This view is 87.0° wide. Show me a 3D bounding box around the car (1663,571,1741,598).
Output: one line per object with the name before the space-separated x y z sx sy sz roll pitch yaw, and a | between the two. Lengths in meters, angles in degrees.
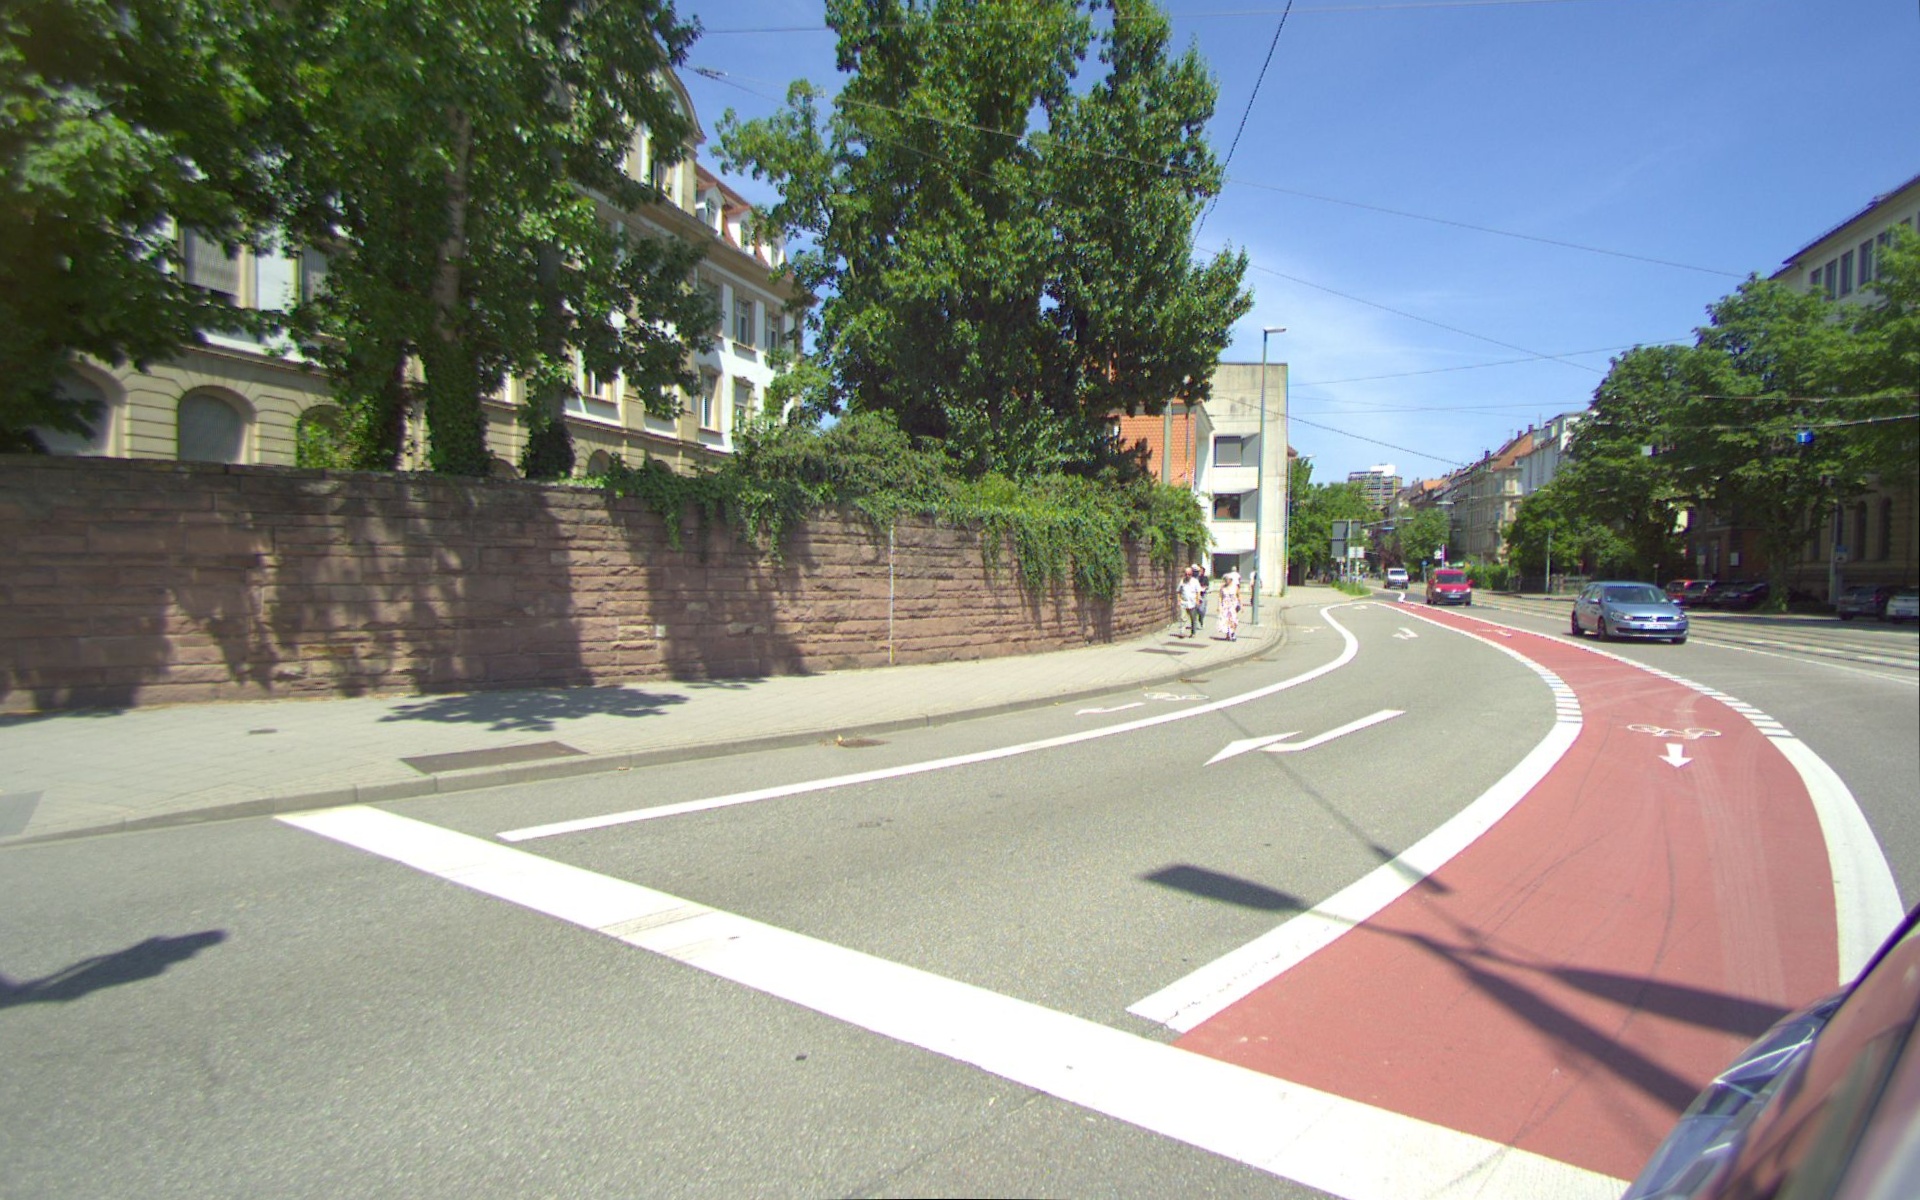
car | 42.748 -0.899 58.333 3.505 1.471 1.618 -1 0 -10

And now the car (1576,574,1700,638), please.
car | 16.905 0.081 25.428 1.813 1.431 3.965 1 2 23

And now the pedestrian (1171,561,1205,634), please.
pedestrian | 5.277 -0.065 23.396 0.598 1.631 0.554 4 2 22

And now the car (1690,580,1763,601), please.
car | 41.362 -0.500 54.636 2.933 1.113 1.281 0 0 1

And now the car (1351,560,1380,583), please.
car | 30.996 -2.177 77.394 1.795 1.729 3.977 2 2 18

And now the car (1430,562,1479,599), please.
car | 24.947 -0.953 51.205 1.811 1.788 4.250 0 0 21

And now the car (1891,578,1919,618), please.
car | 36.044 -0.086 36.440 3.487 1.438 1.571 0 0 3

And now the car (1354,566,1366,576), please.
car | 57.549 -4.157 145.636 1.408 1.341 2.970 0 0 18

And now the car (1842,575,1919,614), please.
car | 36.420 -0.215 39.197 3.091 1.481 1.571 0 0 1

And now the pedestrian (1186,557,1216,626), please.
pedestrian | 6.260 -0.231 26.312 0.597 1.733 0.555 4 2 20

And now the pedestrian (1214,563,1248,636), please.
pedestrian | 6.211 -0.020 23.157 0.598 1.631 0.554 4 2 22

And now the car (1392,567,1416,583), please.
car | 42.102 -2.391 96.109 1.812 1.409 4.250 2 2 21

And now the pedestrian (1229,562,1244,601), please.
pedestrian | 11.804 -0.804 43.233 0.483 1.625 0.555 4 2 20

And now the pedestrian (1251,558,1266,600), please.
pedestrian | 12.607 -0.869 42.763 0.483 1.733 0.517 4 2 20
